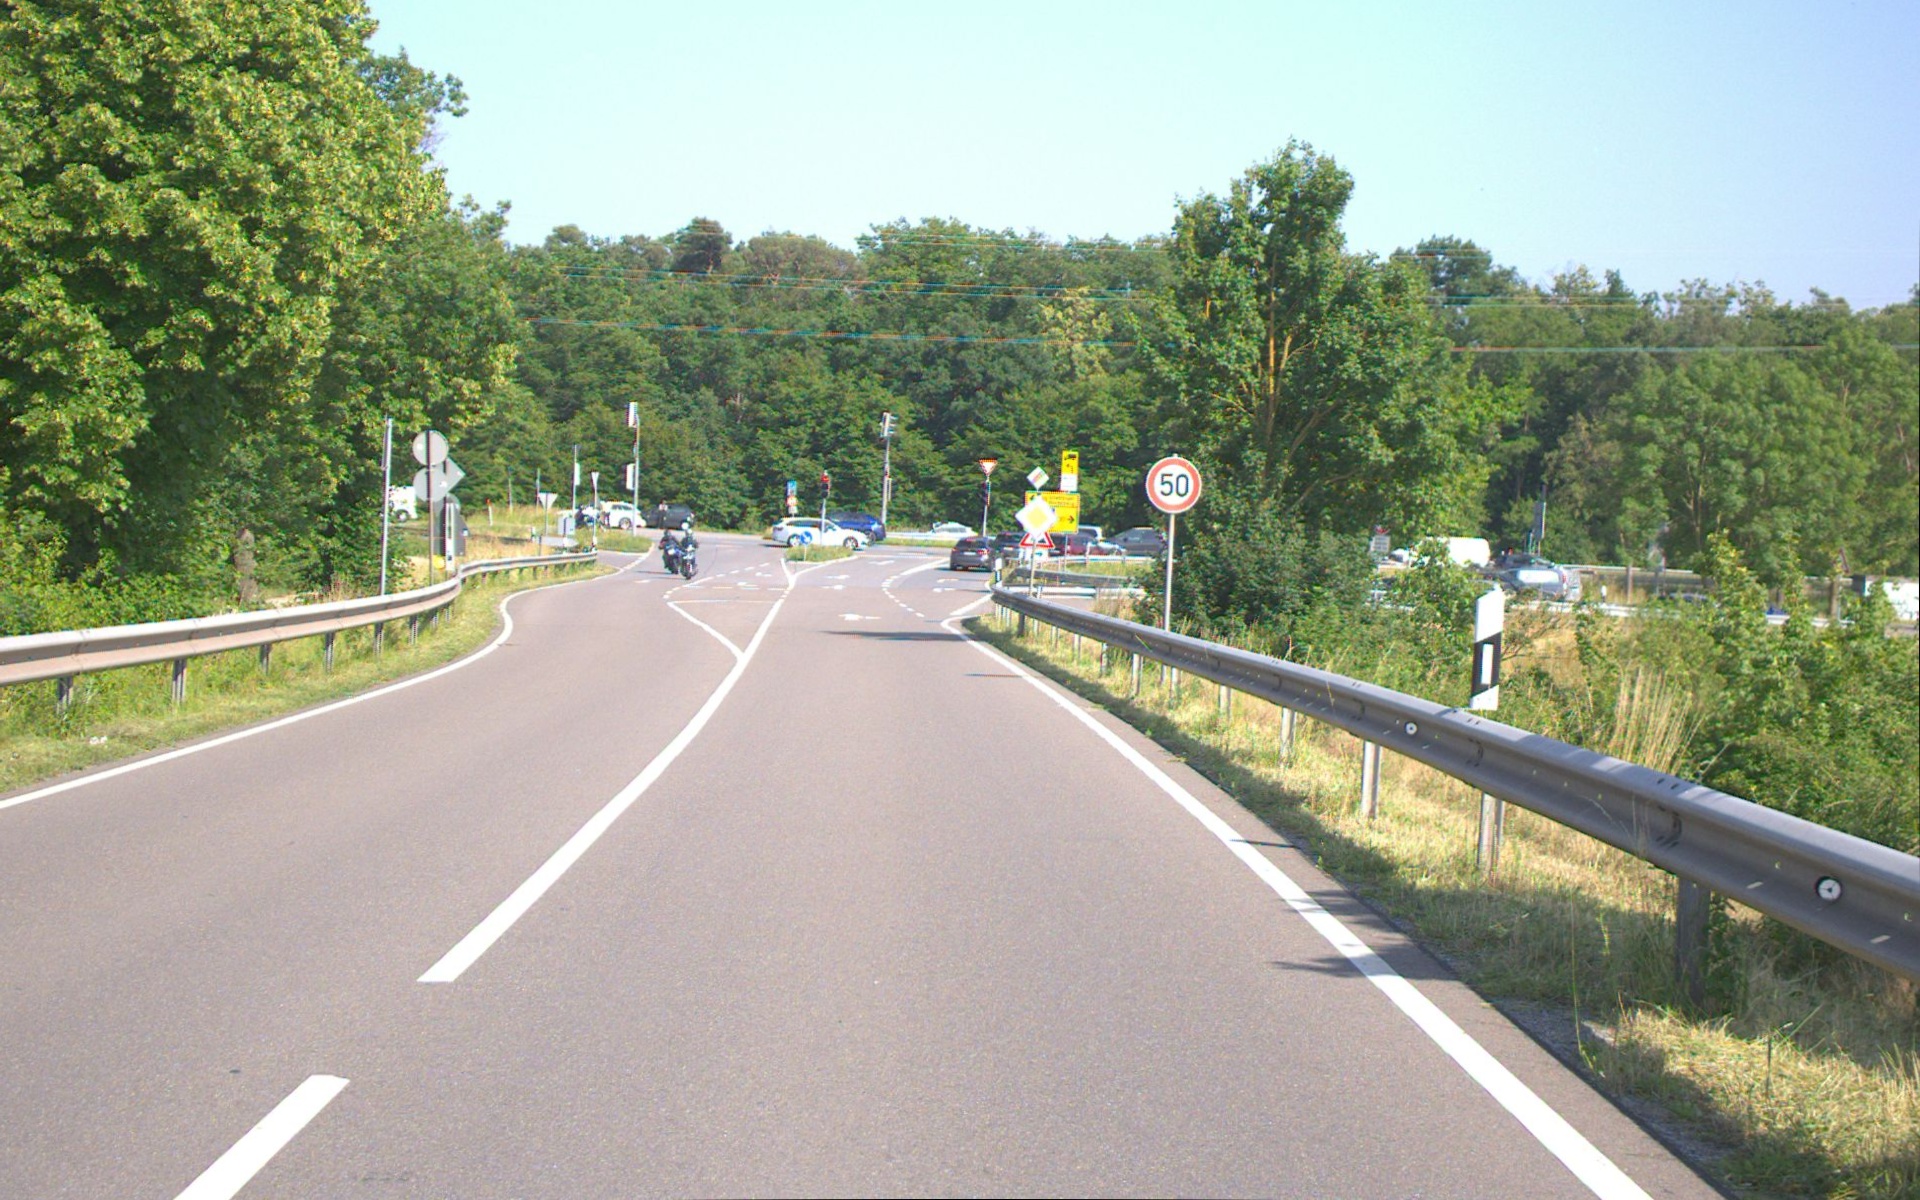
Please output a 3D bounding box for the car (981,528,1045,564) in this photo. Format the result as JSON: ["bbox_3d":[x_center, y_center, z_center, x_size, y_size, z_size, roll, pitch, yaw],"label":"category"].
[{"bbox_3d":[2.361,-2.402,152.573,1.801,1.495,3.997,3,2,16],"label":"car"}]

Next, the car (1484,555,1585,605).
[{"bbox_3d":[26.146,-0.914,156.542,3.997,1.870,1.887,6,2,38],"label":"car"}]

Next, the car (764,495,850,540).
[{"bbox_3d":[-7.418,-4.001,166.054,3.986,2.006,1.801,2,2,-5],"label":"car"}]

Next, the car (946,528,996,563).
[{"bbox_3d":[0.474,-2.316,145.063,1.799,1.393,4.000,-2,1,4],"label":"car"}]

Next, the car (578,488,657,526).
[{"bbox_3d":[-18.843,-5.112,189.221,3.986,2.007,1.796,0,1,-22],"label":"car"}]
